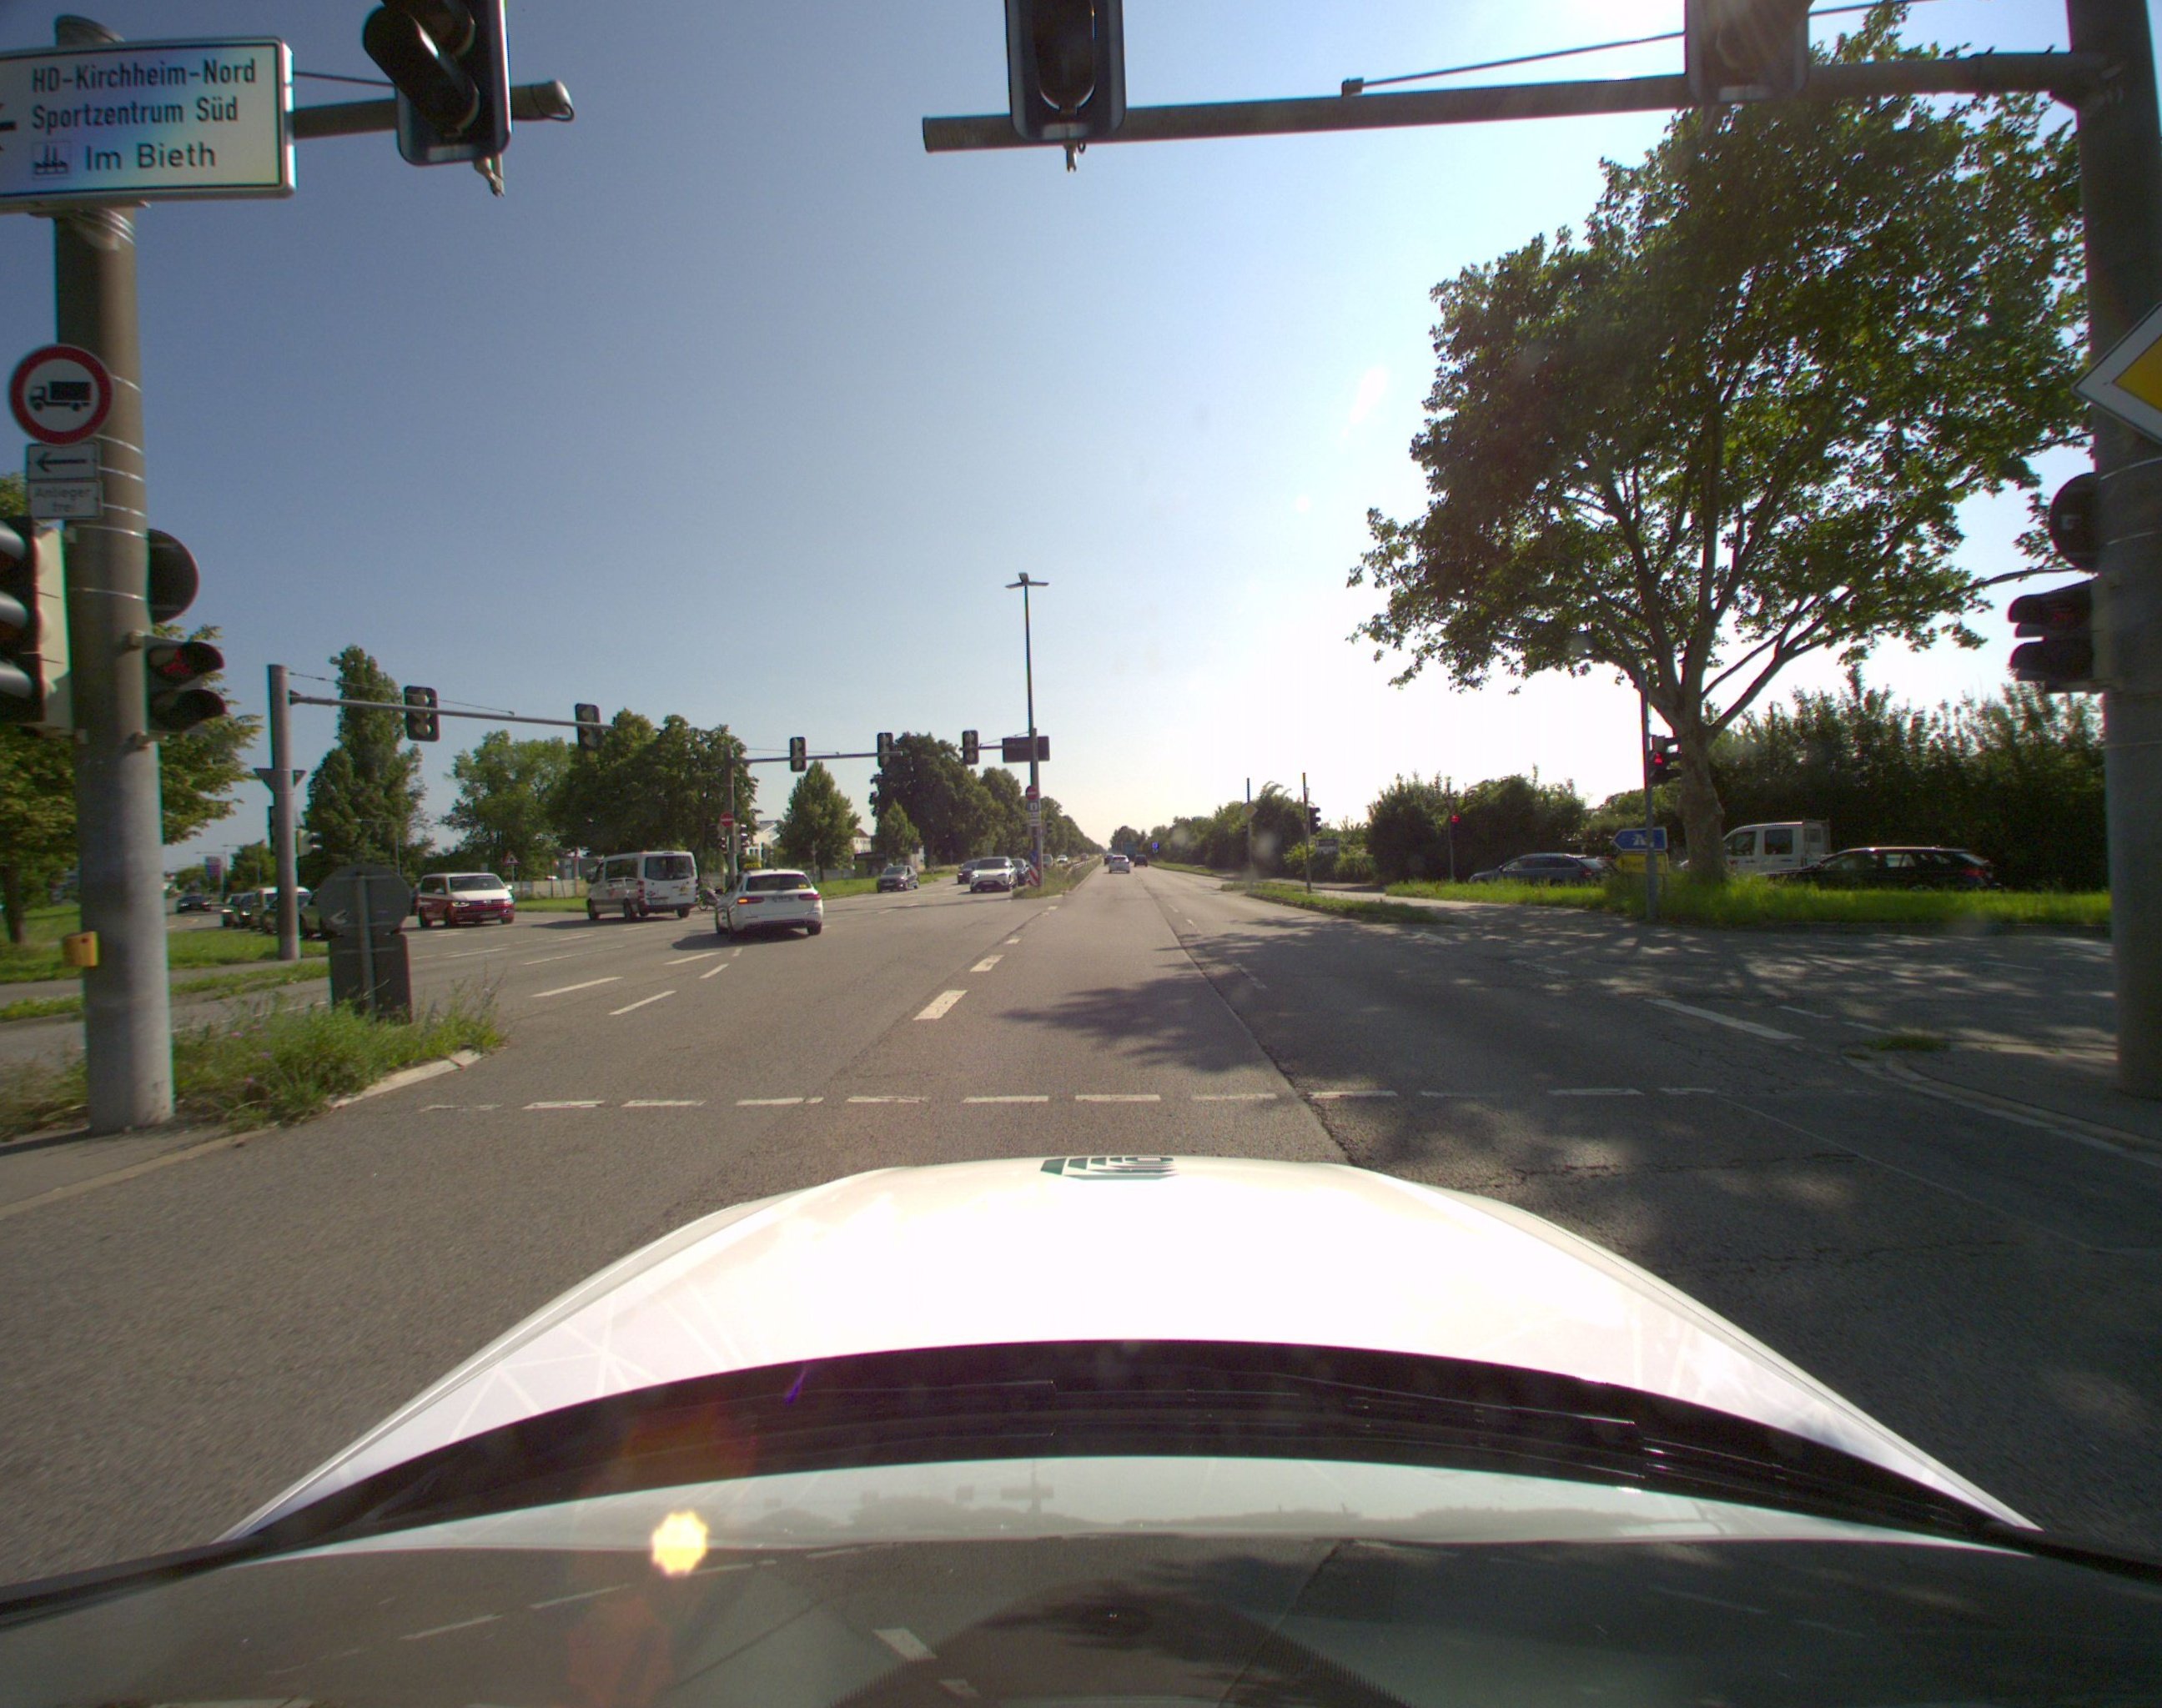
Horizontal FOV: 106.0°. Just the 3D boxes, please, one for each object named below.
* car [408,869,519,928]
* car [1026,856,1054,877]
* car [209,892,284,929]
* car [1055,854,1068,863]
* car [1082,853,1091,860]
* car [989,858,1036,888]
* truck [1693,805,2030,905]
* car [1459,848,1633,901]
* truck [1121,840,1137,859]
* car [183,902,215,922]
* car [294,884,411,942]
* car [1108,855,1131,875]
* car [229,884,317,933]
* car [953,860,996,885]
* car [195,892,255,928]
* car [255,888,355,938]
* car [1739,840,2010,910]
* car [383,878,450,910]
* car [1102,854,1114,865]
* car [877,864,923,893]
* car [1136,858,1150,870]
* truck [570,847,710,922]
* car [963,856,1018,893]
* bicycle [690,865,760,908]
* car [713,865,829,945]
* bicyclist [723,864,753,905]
[{"bbox_3d":[-22.649,1.608,29.801,4.595,1.950,2.013,-3,-1,37],"label":"car"},{"bbox_3d":[-3.286,0.956,65.986,1.840,1.594,4.618,-2,0,1],"label":"car"},{"bbox_3d":[-38.936,2.608,37.968,4.072,1.512,1.932,-3,0,37],"label":"car"},{"bbox_3d":[-3.377,0.817,142.750,1.987,1.502,4.091,-2,0,1],"label":"car"},{"bbox_3d":[1.202,0.510,172.178,1.905,1.502,4.091,-2,0,1],"label":"car"},{"bbox_3d":[-3.747,1.010,45.256,1.808,1.485,4.899,-1,0,4],"label":"car"},{"bbox_3d":[21.376,0.119,22.779,2.352,2.386,6.411,2,-2,-31],"label":"truck"},{"bbox_3d":[15.087,0.660,26.715,2.005,1.547,4.574,-1,-1,-28],"label":"car"},{"bbox_3d":[8.903,-0.861,151.896,2.880,3.428,9.174,-2,0,2],"label":"truck"},{"bbox_3d":[-84.369,5.533,77.900,1.787,1.750,4.049,0,-1,-43],"label":"car"},{"bbox_3d":[-23.598,1.869,26.331,4.212,1.606,2.018,-3,0,37],"label":"car"},{"bbox_3d":[3.197,0.902,66.899,1.791,1.552,4.003,-1,0,3],"label":"car"},{"bbox_3d":[-34.162,2.276,34.389,4.449,1.801,2.018,-3,0,37],"label":"car"},{"bbox_3d":[-6.785,1.160,52.486,1.922,1.437,4.271,-3,0,3],"label":"car"},{"bbox_3d":[-43.475,2.807,41.425,4.214,1.606,2.017,-3,0,44],"label":"car"},{"bbox_3d":[-28.832,2.148,30.230,4.212,1.606,2.018,-3,0,37],"label":"car"},{"bbox_3d":[19.389,0.500,20.133,2.007,1.528,4.424,0,-1,-32],"label":"car"},{"bbox_3d":[-36.981,2.222,45.316,3.948,1.649,1.926,-2,0,36],"label":"car"},{"bbox_3d":[3.559,0.727,107.943,1.566,1.414,3.279,-2,0,2],"label":"car"},{"bbox_3d":[-10.164,1.350,45.954,1.480,1.414,3.764,-4,0,2],"label":"car"},{"bbox_3d":[7.459,1.200,98.852,1.566,1.414,3.279,-1,-1,2],"label":"car"},{"bbox_3d":[-15.906,1.063,29.205,5.963,2.389,2.396,-2,0,41],"label":"truck"},{"bbox_3d":[-4.238,0.943,38.836,2.003,1.610,4.212,-2,0,1],"label":"car"},{"bbox_3d":[-14.604,1.329,33.359,2.765,1.670,1.143,-2,0,29],"label":"bicycle"},{"bbox_3d":[-7.154,1.073,18.462,1.823,1.464,4.925,-3,-1,-28],"label":"car"},{"bbox_3d":[-13.840,1.237,32.886,0.854,1.618,0.763,-1,-1,30],"label":"bicyclist"}]
